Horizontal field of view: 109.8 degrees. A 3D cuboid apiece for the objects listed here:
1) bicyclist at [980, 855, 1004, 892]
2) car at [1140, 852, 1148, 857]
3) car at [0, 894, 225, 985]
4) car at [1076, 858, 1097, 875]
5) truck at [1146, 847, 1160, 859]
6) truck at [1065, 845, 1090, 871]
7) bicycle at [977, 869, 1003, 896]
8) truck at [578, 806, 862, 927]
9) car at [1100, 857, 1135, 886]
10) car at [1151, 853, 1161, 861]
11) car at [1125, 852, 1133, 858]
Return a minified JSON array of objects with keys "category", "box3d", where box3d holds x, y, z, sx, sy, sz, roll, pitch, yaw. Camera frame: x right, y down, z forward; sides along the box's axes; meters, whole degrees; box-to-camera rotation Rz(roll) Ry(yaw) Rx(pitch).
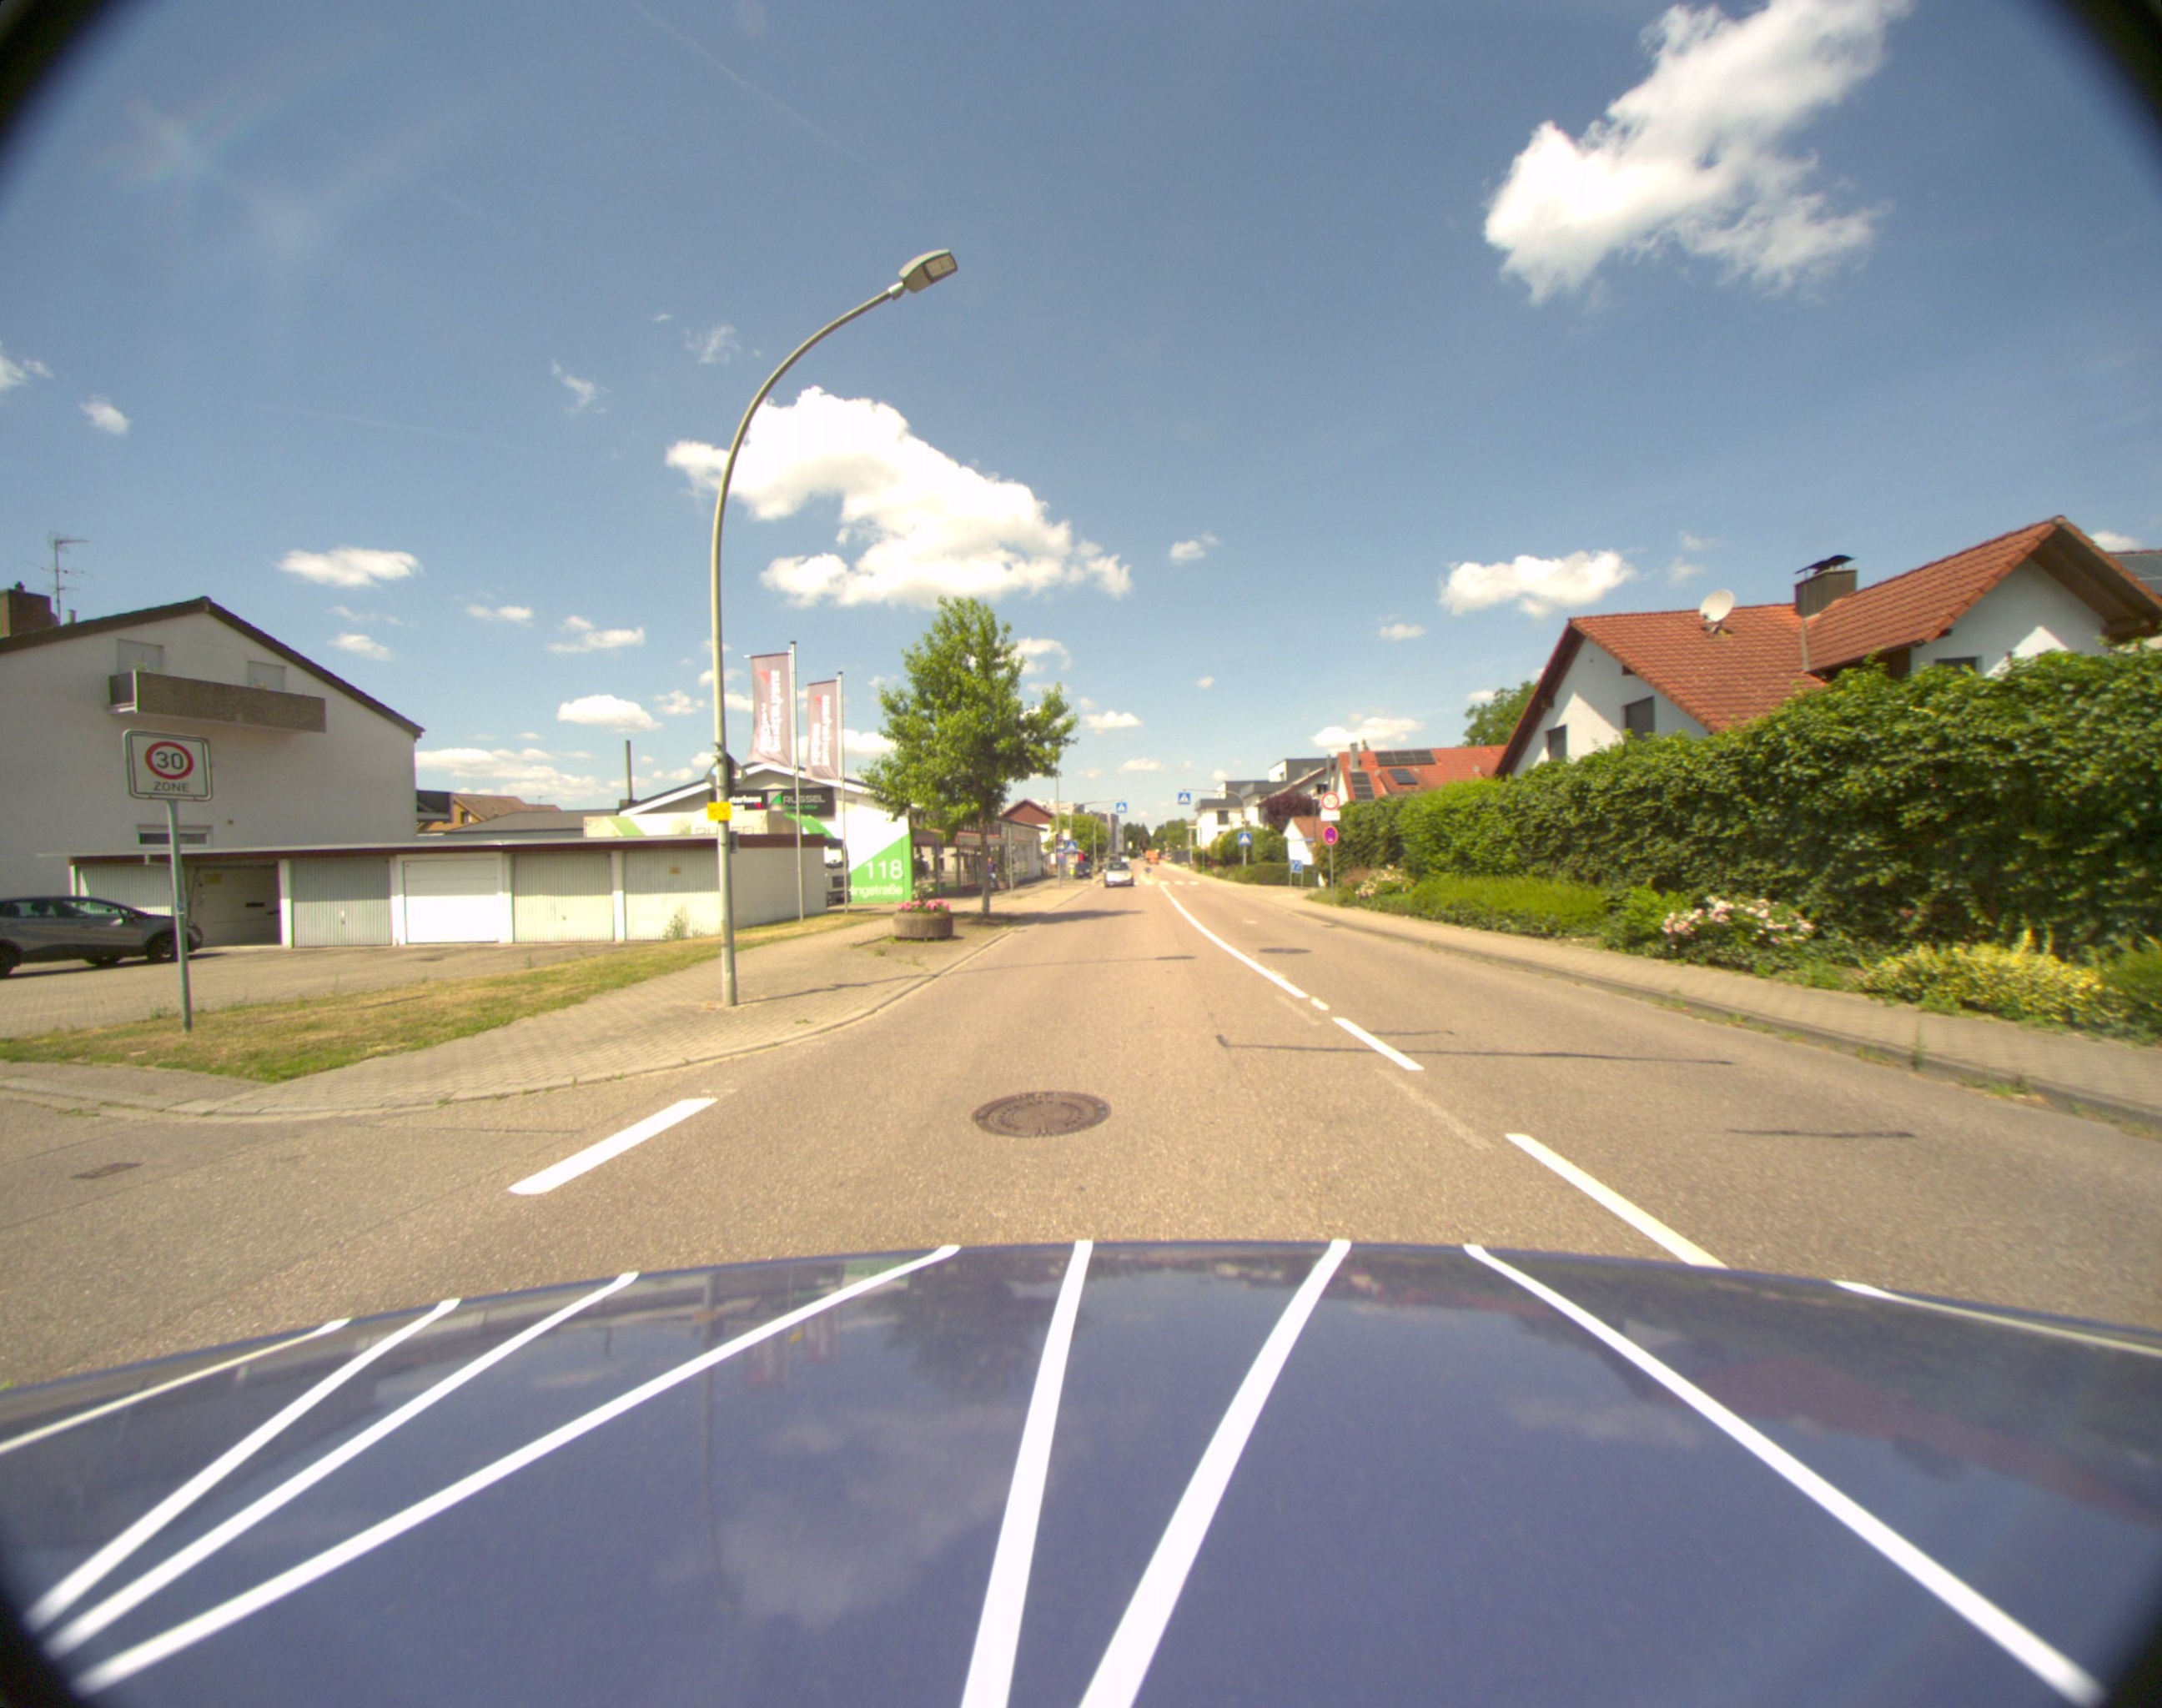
[{"category":"bicyclist","box3d":[-4.087,0.902,34.788,0.805,1.620,1.112,-4,-1,3]},{"category":"car","box3d":[17.586,0.071,212.871,1.728,1.484,3.763,0,0,11]},{"category":"car","box3d":[-20.771,1.698,15.510,1.678,1.494,4.133,-2,0,6]},{"category":"car","box3d":[0.507,1.119,69.123,1.729,1.484,3.761,0,0,4]},{"category":"truck","box3d":[15.703,-0.242,165.118,2.863,2.695,6.793,0,1,4]},{"category":"truck","box3d":[-0.428,0.420,83.699,2.579,2.745,6.333,0,0,-1]},{"category":"bicycle","box3d":[-4.159,1.293,34.805,0.805,1.158,1.944,-4,-1,3]},{"category":"truck","box3d":[-11.904,0.400,25.487,8.188,3.552,2.678,-2,1,4]},{"category":"car","box3d":[2.242,1.055,47.353,1.723,1.590,3.759,-4,0,-3]},{"category":"car","box3d":[14.315,0.619,145.130,1.798,1.480,3.614,0,0,4]},{"category":"car","box3d":[11.282,0.172,179.552,1.728,1.484,3.761,0,0,5]}]
